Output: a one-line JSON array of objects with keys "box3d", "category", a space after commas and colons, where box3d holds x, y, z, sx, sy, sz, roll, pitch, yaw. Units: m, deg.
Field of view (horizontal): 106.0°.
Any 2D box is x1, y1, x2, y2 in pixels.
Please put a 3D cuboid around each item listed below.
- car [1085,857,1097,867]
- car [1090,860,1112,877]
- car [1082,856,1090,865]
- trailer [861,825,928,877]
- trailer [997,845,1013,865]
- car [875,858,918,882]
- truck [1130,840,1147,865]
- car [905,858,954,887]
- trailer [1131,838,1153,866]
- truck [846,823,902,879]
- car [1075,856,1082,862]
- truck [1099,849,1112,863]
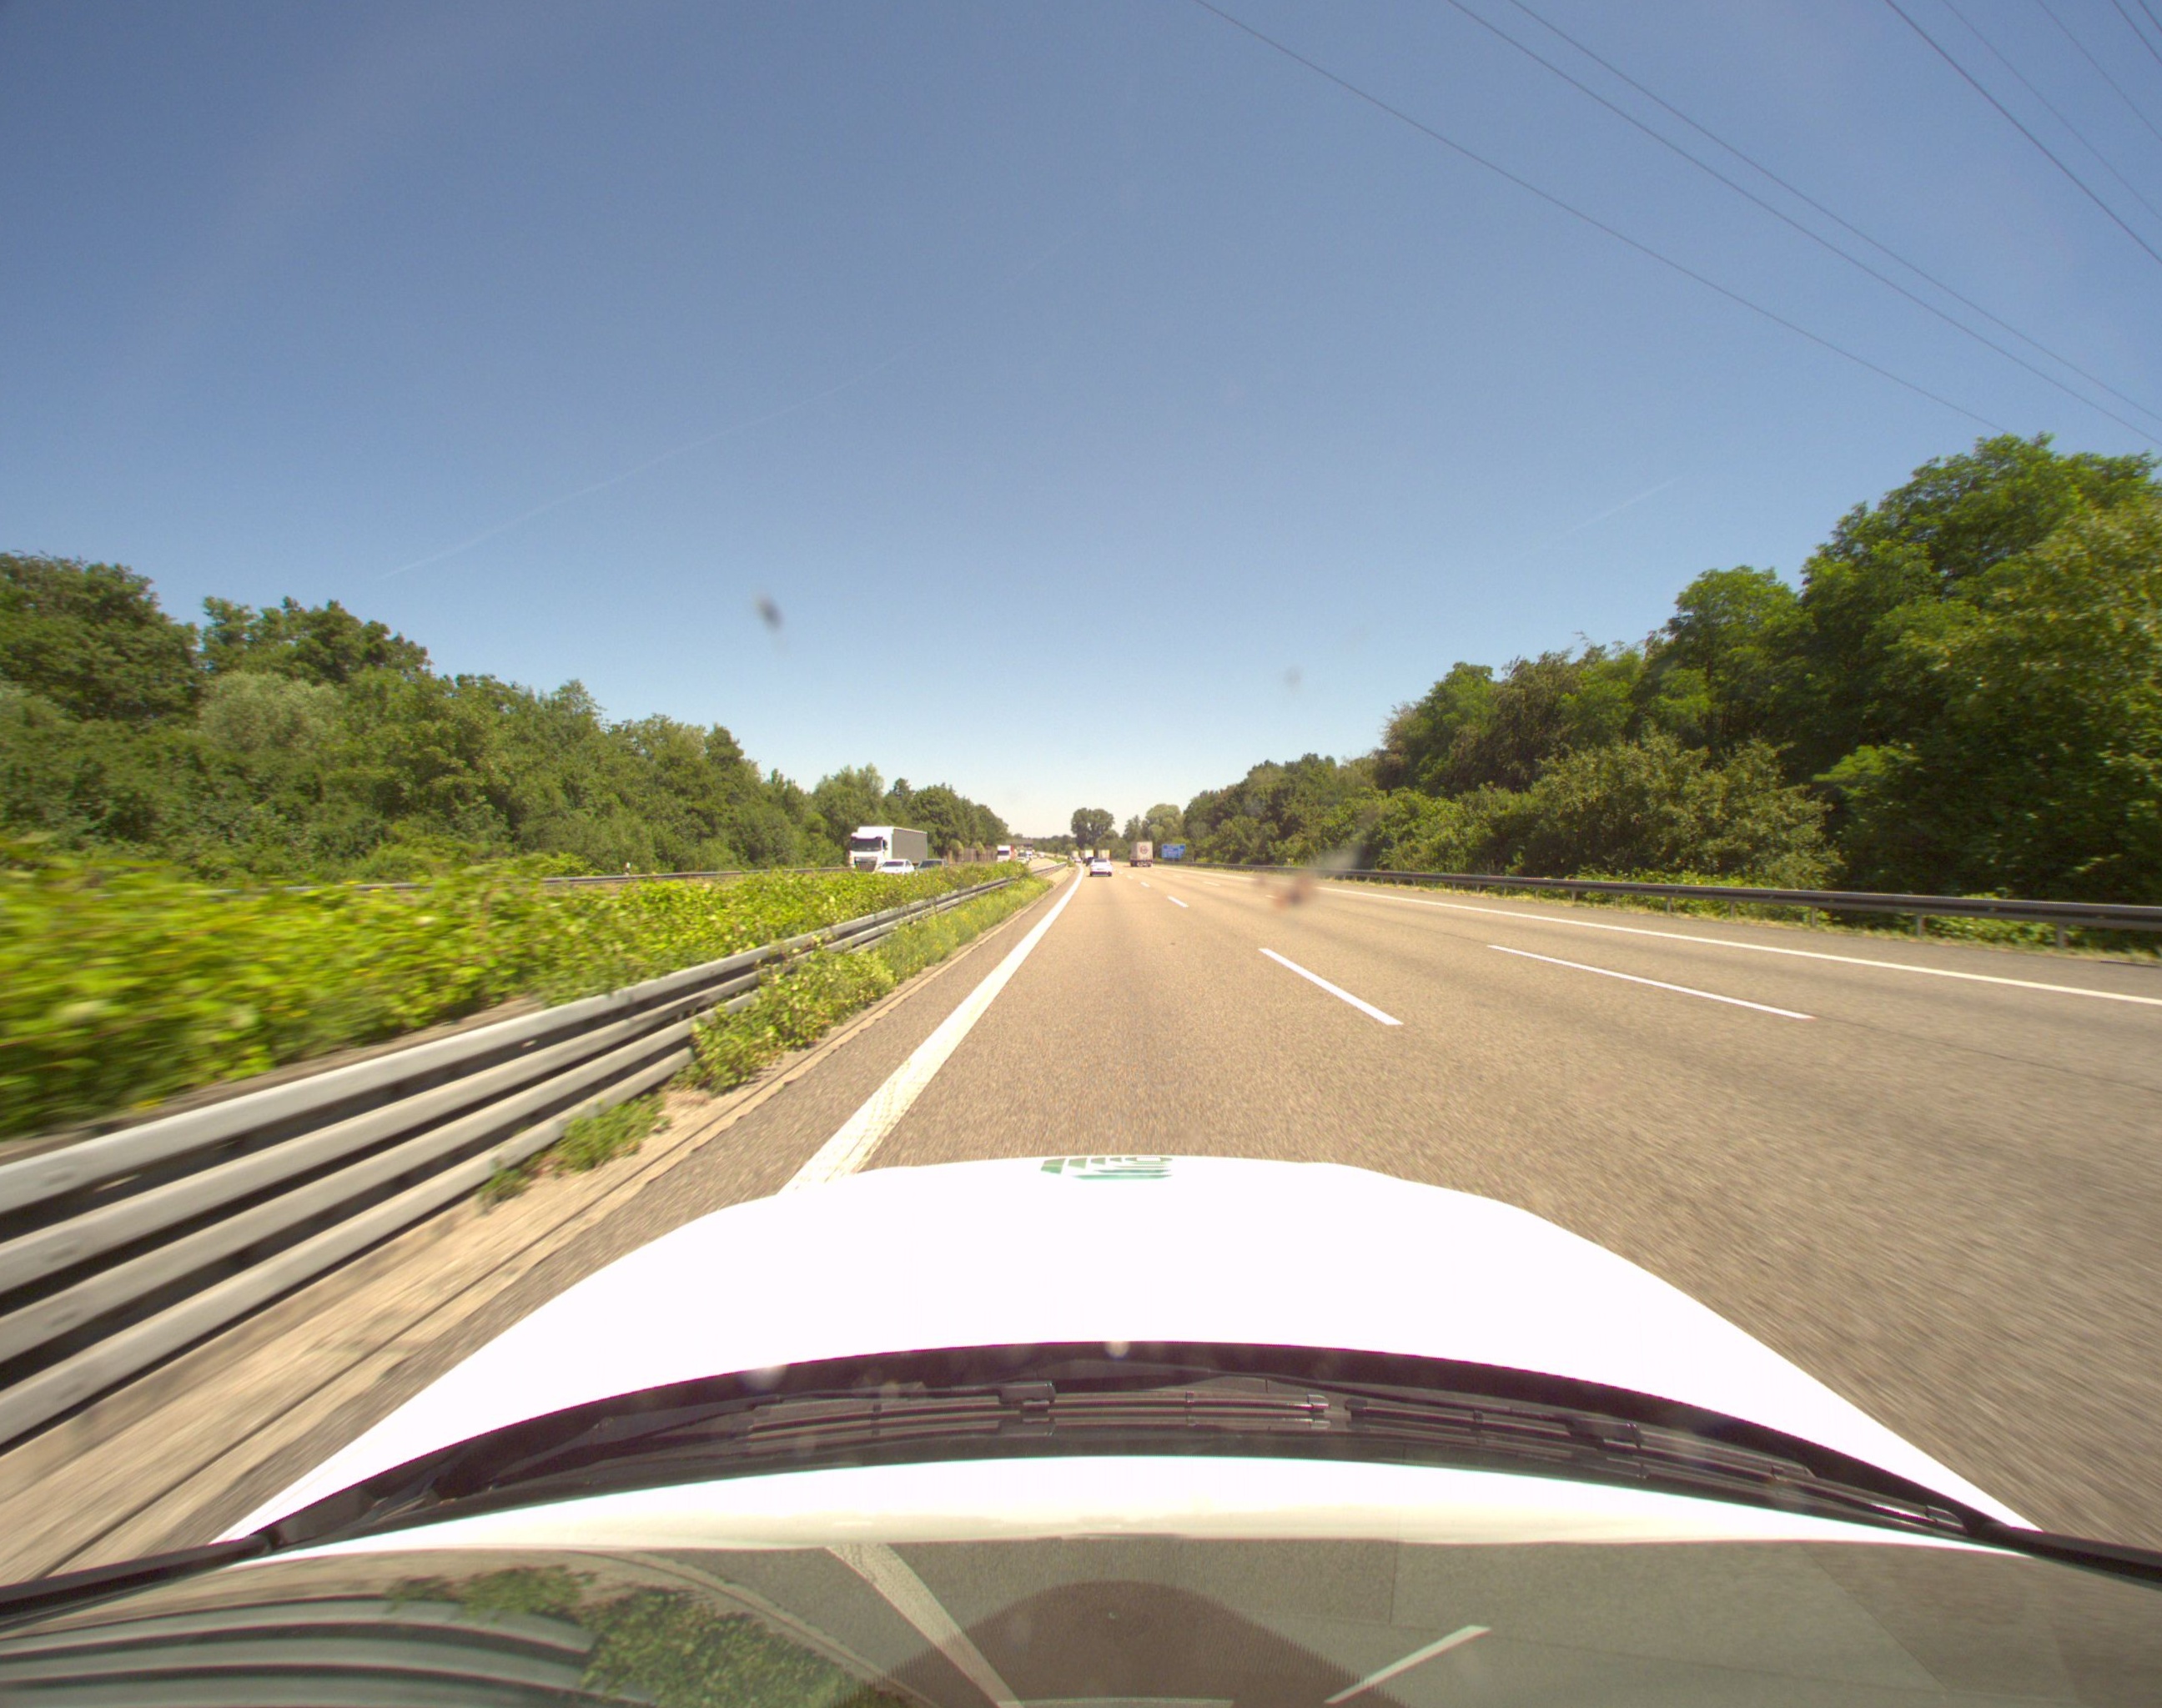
[{"box3d": [1.811, 1.415, 146.035, 1.989, 1.772, 3.996, -1, 0, -3], "category": "car"}, {"box3d": [1.651, 1.168, 66.970, 1.708, 1.369, 3.377, 0, 0, 3], "category": "car"}, {"box3d": [1.244, 1.611, 205.743, 1.989, 2.013, 3.996, -1, 0, -3], "category": "car"}, {"box3d": [-15.713, -0.207, 69.719, 2.662, 3.966, 13.658, 0, 0, -1], "category": "trailer"}, {"box3d": [-15.250, 0.205, 163.751, 2.682, 4.042, 6.031, 0, 0, -3], "category": "trailer"}, {"box3d": [-11.865, 0.997, 52.592, 1.658, 1.454, 4.126, -1, 0, 2], "category": "car"}, {"box3d": [9.921, -0.283, 140.211, 2.597, 4.287, 5.435, 0, 0, 0], "category": "truck"}, {"box3d": [-7.923, 0.935, 42.946, 1.658, 1.454, 4.126, -1, 0, 2], "category": "car"}, {"box3d": [9.876, -0.283, 132.985, 2.615, 4.261, 14.059, 0, 0, 0], "category": "trailer"}, {"box3d": [-15.679, -0.217, 62.160, 2.652, 3.985, 6.551, 0, 0, -1], "category": "truck"}, {"box3d": [-0.797, 1.681, 253.606, 1.721, 1.783, 3.993, -1, 0, -5], "category": "car"}, {"box3d": [7.734, 0.602, 255.807, 3.482, 4.311, 10.983, 0, 0, -1], "category": "truck"}]
